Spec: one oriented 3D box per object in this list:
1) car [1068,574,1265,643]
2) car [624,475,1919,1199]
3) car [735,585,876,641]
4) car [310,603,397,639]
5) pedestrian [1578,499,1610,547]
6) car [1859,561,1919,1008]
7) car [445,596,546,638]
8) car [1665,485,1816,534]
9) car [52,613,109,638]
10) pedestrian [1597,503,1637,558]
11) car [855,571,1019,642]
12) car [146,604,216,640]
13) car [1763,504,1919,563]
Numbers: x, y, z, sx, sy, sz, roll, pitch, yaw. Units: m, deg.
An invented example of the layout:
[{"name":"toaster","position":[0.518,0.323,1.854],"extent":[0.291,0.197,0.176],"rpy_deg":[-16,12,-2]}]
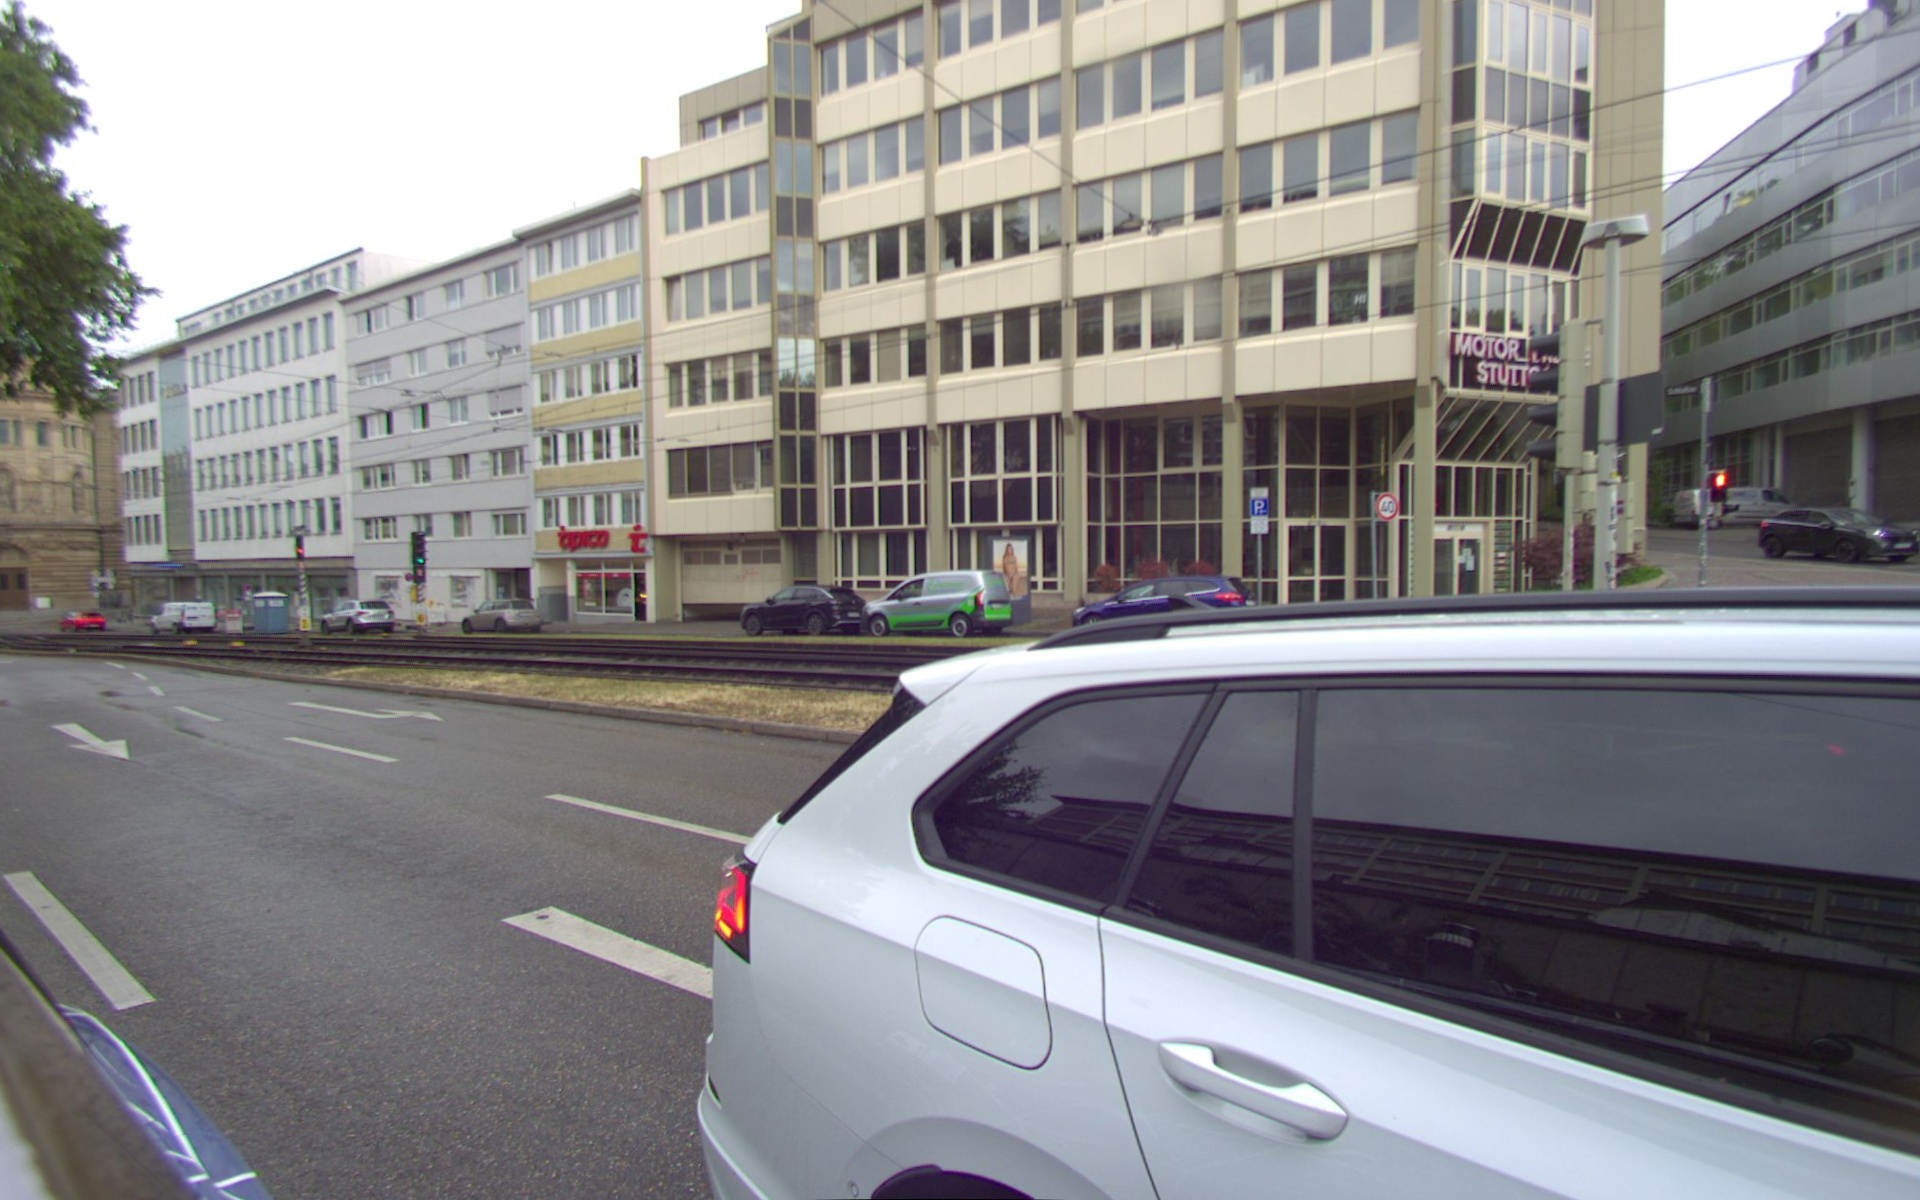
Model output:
[{"name":"car","position":[4.818,0.192,23.852],"extent":[4.207,1.488,1.780],"rpy_deg":[-1,0,35]},{"name":"car","position":[1.610,0.621,1.163],"extent":[4.473,1.453,1.777],"rpy_deg":[-1,0,41]},{"name":"car","position":[-4.715,0.378,30.756],"extent":[4.066,1.524,1.782],"rpy_deg":[-1,3,34]},{"name":"car","position":[-28.308,0.948,47.212],"extent":[4.066,1.524,1.869],"rpy_deg":[-1,3,34]},{"name":"pedestrian","position":[22.797,-2.758,36.395],"extent":[0.711,1.651,0.759],"rpy_deg":[-2,3,6]},{"name":"car","position":[5.300,0.573,2.560],"extent":[4.473,1.453,1.777],"rpy_deg":[-1,0,41]},{"name":"car","position":[-18.712,0.665,40.710],"extent":[4.066,1.524,1.782],"rpy_deg":[-1,3,34]},{"name":"car","position":[37.629,-4.348,48.937],"extent":[5.357,2.029,1.993],"rpy_deg":[-1,0,12]},{"name":"car","position":[-62.204,1.778,71.563],"extent":[4.465,1.636,1.869],"rpy_deg":[-1,3,34]},{"name":"pedestrian","position":[21.852,-2.301,33.669],"extent":[0.821,1.800,0.759],"rpy_deg":[-2,3,6]},{"name":"car","position":[-0.674,0.169,27.866],"extent":[4.204,1.759,1.782],"rpy_deg":[-1,2,33]},{"name":"car","position":[-46.547,1.288,60.457],"extent":[4.465,1.949,1.869],"rpy_deg":[-1,3,34]},{"name":"car","position":[27.535,-2.087,31.091],"extent":[1.974,1.591,4.884],"rpy_deg":[-2,5,3]}]
